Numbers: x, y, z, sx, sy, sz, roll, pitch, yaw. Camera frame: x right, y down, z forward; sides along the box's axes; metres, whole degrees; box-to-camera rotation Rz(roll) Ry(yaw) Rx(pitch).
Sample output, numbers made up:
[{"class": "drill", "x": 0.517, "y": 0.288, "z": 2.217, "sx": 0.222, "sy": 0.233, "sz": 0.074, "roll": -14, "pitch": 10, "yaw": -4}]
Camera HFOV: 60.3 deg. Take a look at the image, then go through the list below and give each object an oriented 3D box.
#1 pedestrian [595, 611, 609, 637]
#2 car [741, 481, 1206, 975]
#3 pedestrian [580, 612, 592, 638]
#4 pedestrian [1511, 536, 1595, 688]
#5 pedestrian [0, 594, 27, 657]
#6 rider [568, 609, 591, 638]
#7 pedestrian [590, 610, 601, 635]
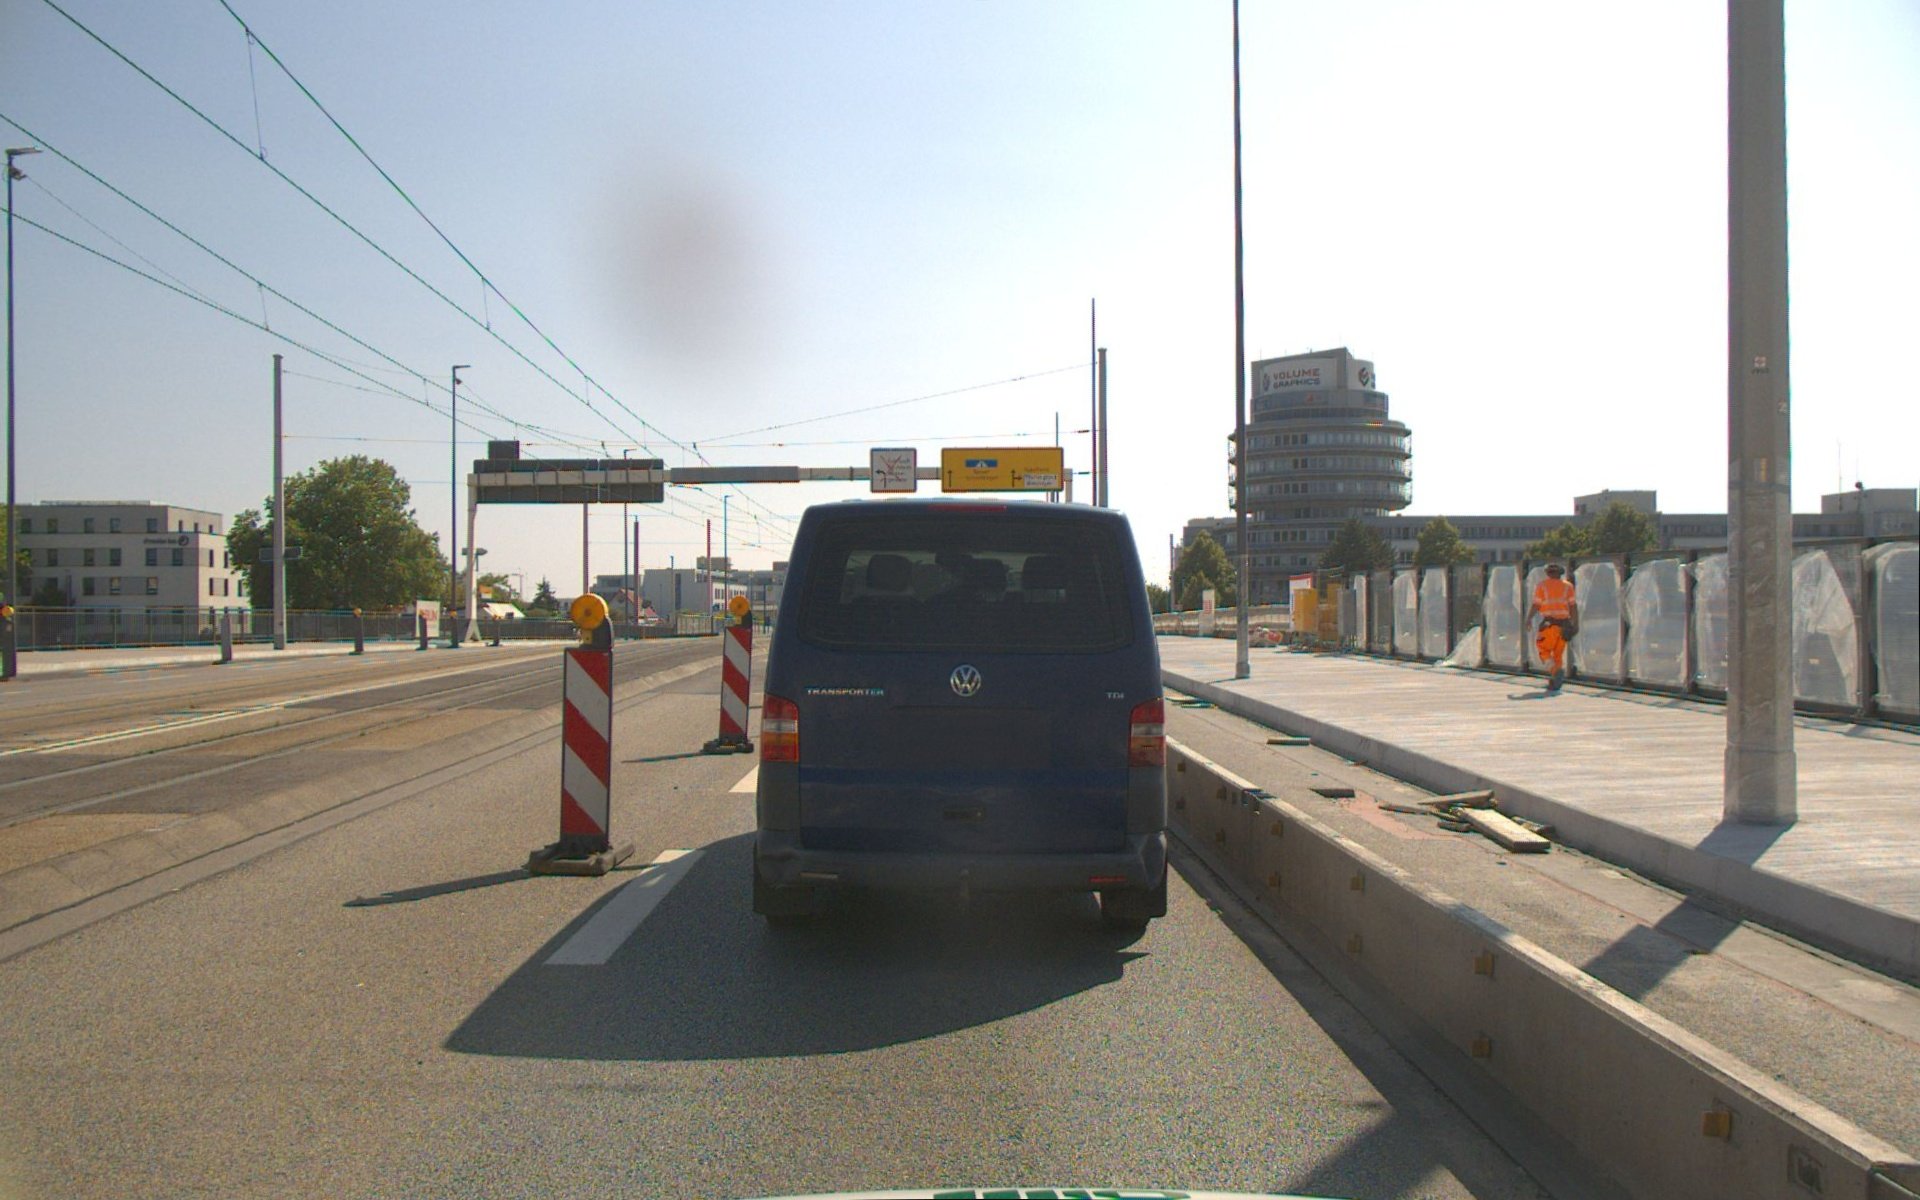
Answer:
[{"class": "pedestrian", "x": -24.657, "y": 1.649, "z": 113.861, "sx": 0.737, "sy": 1.717, "sz": 0.732, "roll": -1, "pitch": -1, "yaw": 3}, {"class": "car", "x": 0.032, "y": 0.540, "z": 8.711, "sx": 1.849, "sy": 1.968, "sz": 3.999, "roll": 1, "pitch": -1, "yaw": -1}, {"class": "pedestrian", "x": -25.069, "y": 1.656, "z": 110.883, "sx": 0.585, "sy": 1.717, "sz": 0.818, "roll": -1, "pitch": -1, "yaw": 3}, {"class": "pedestrian", "x": 8.056, "y": 0.166, "z": 22.513, "sx": 0.716, "sy": 1.999, "sz": 1.016, "roll": -2, "pitch": 0, "yaw": 0}, {"class": "pedestrian", "x": -25.707, "y": 0.682, "z": 44.437, "sx": 0.728, "sy": 1.670, "sz": 0.895, "roll": 2, "pitch": -1, "yaw": -1}, {"class": "rider", "x": -23.324, "y": 1.411, "z": 101.463, "sx": 0.748, "sy": 1.763, "sz": 2.950, "roll": 0, "pitch": 0, "yaw": -1}, {"class": "pedestrian", "x": -24.473, "y": 1.507, "z": 111.023, "sx": 0.476, "sy": 1.717, "sz": 0.808, "roll": -1, "pitch": -1, "yaw": 3}]
